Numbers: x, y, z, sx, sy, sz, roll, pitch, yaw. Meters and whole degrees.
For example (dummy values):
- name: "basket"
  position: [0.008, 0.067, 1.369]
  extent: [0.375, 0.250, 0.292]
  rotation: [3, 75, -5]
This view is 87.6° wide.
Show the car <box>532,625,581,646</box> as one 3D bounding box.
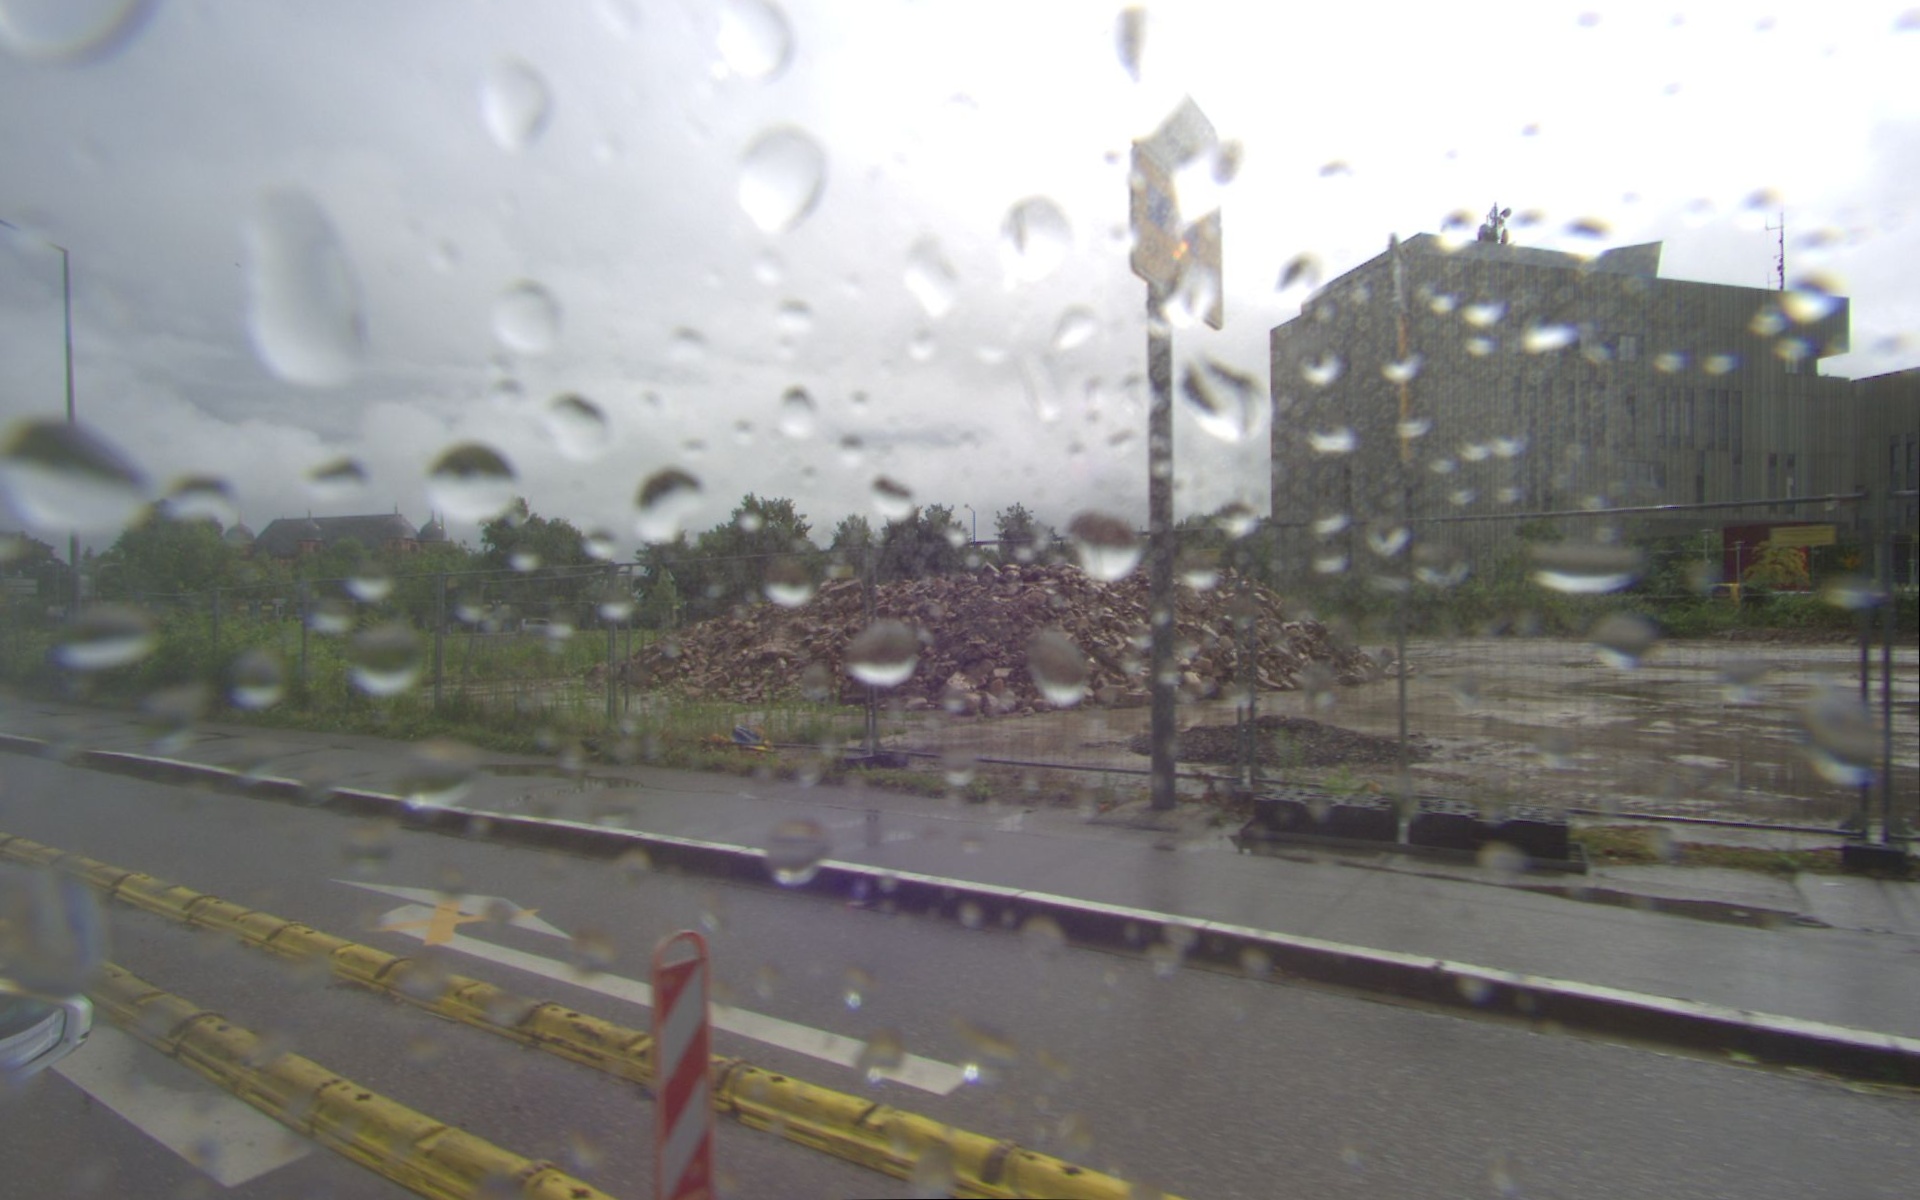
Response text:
- name: "car"
  position: [-32.333, 2.829, 80.223]
  extent: [3.467, 1.567, 1.628]
  rotation: [-1, 0, -17]
